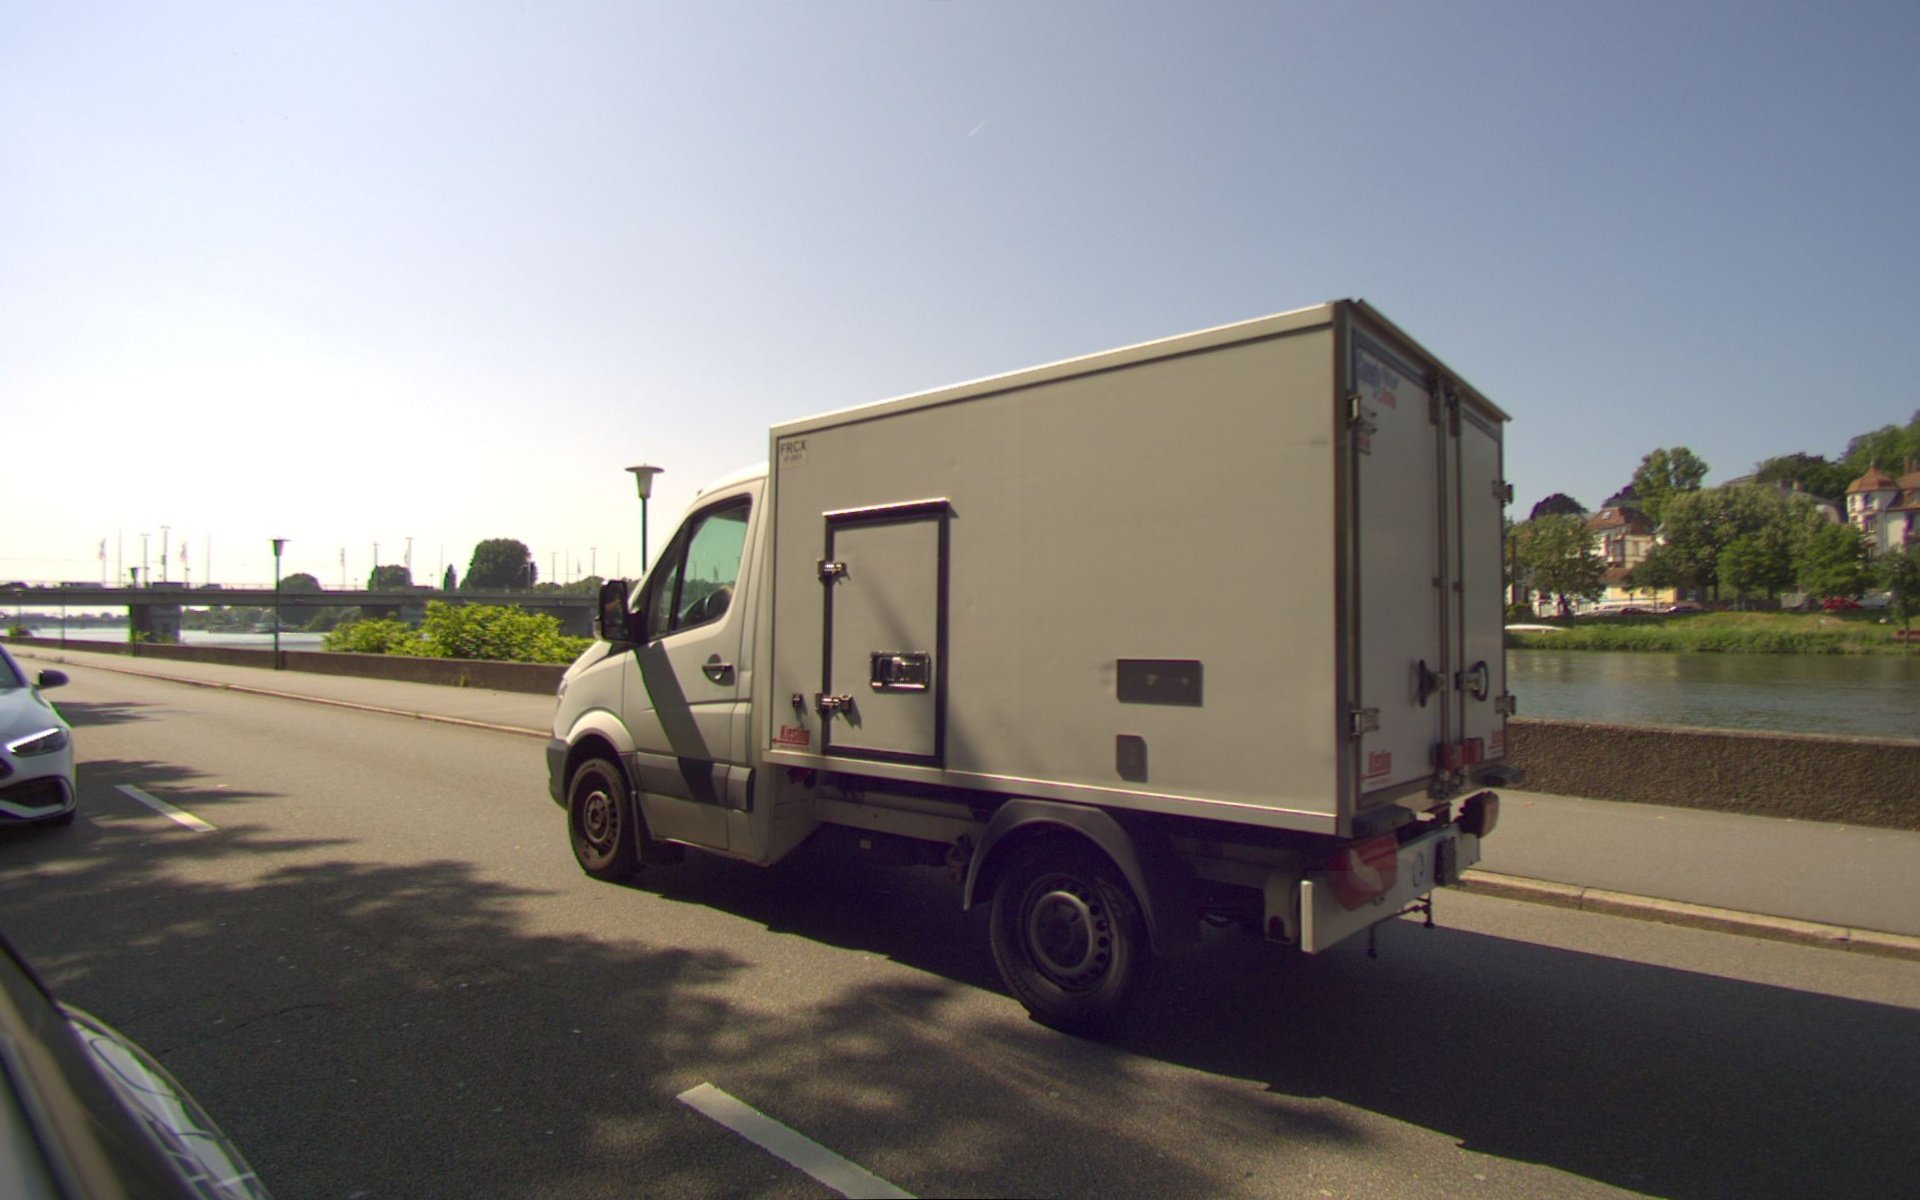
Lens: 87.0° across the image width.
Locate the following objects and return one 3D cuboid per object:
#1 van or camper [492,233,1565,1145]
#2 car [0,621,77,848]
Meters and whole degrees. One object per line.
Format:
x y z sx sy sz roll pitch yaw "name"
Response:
-0.167 0.309 5.250 5.382 2.417 2.055 -2 -3 41 "van or camper"
-8.149 0.913 7.563 4.551 1.430 1.806 -2 -1 42 "car"
